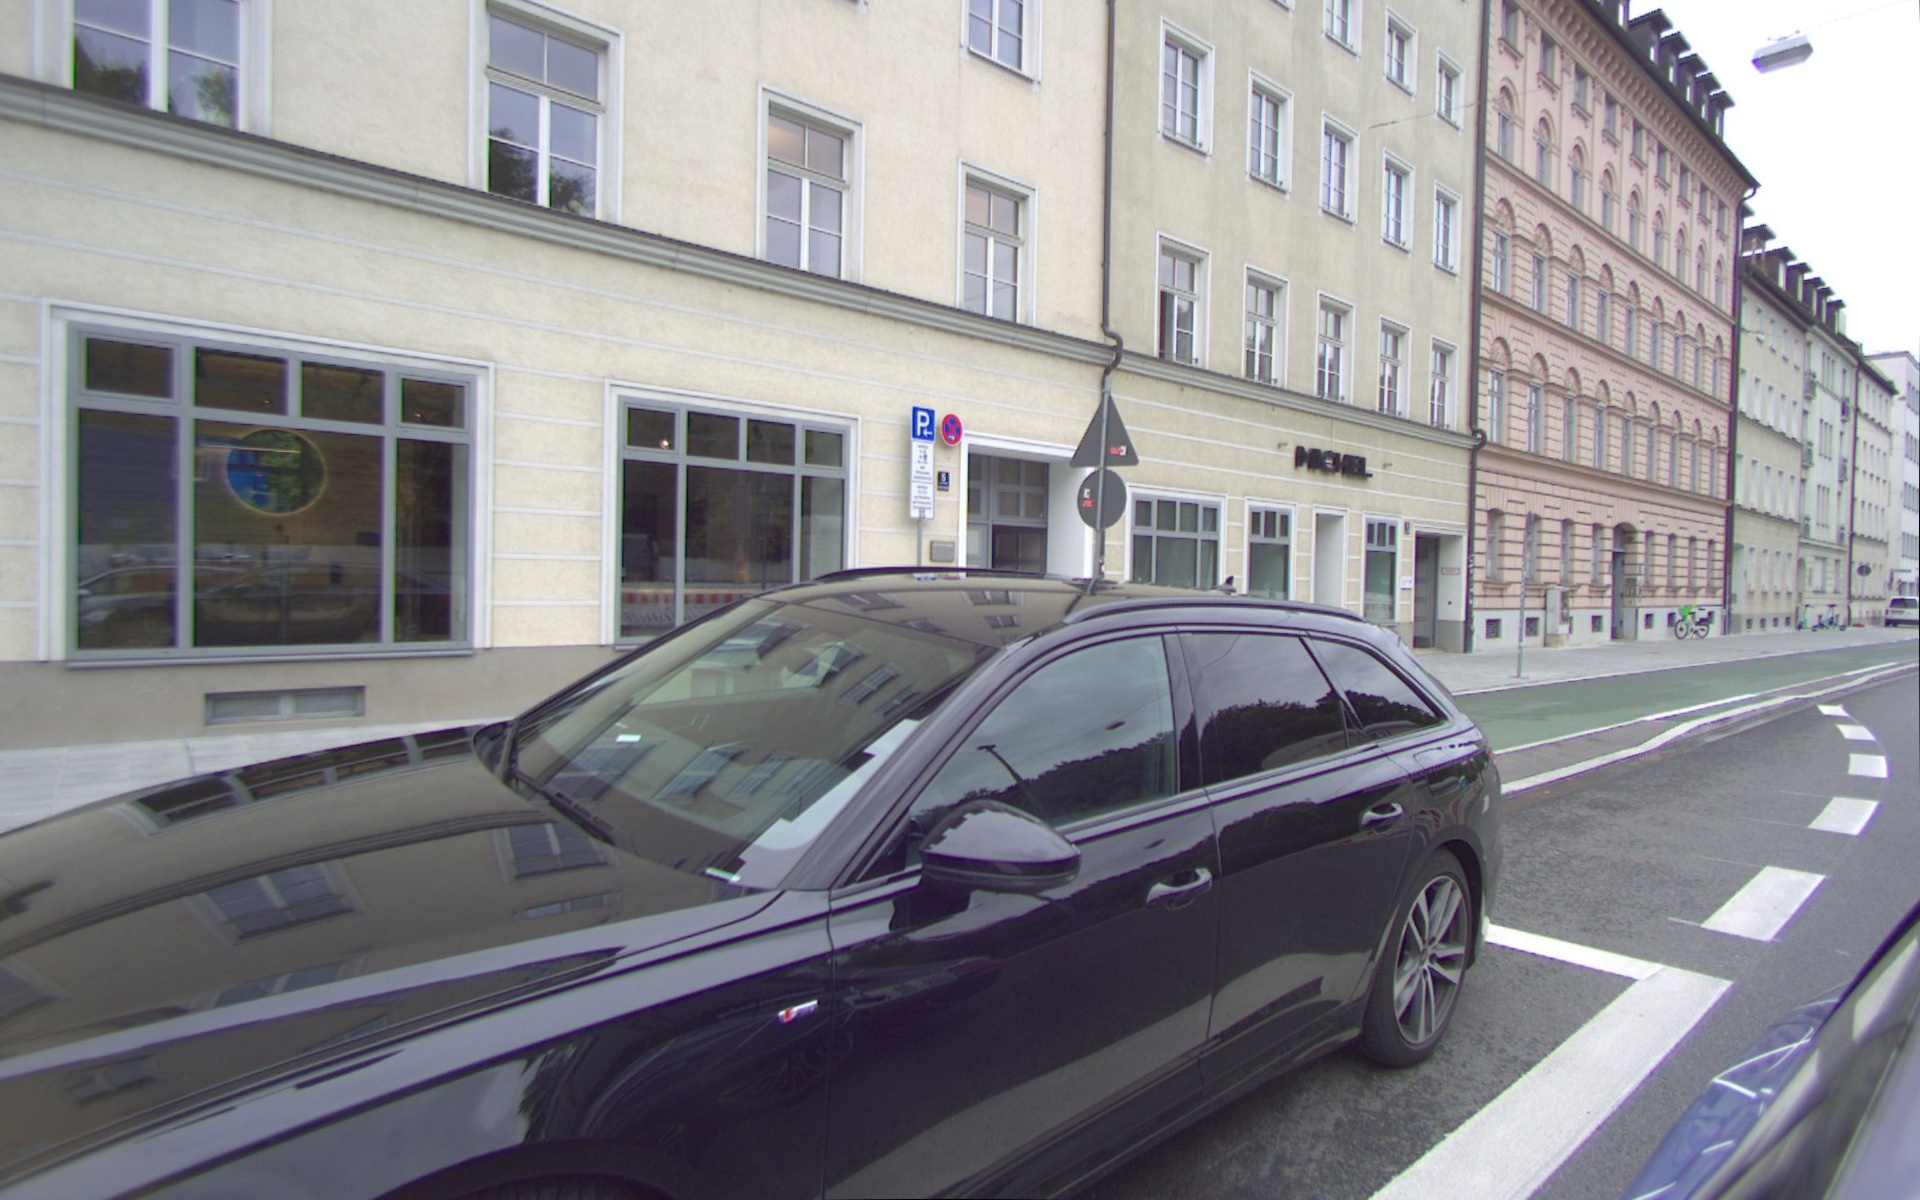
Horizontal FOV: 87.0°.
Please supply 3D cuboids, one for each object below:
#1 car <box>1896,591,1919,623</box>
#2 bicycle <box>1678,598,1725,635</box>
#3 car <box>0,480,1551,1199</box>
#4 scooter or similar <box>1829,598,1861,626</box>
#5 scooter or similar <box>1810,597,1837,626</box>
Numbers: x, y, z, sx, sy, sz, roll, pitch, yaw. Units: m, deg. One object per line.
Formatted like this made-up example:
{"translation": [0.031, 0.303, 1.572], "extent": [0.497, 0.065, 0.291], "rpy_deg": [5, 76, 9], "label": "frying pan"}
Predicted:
{"translation": [56.446, 0.438, 59.310], "extent": [4.356, 1.771, 1.737], "rpy_deg": [1, 2, -40], "label": "car"}
{"translation": [24.893, 0.562, 33.974], "extent": [1.695, 1.188, 0.428], "rpy_deg": [1, 1, -23], "label": "bicycle"}
{"translation": [-0.238, 0.613, 2.654], "extent": [4.607, 1.498, 1.804], "rpy_deg": [0, 2, -43], "label": "car"}
{"translation": [42.624, 0.571, 48.748], "extent": [1.105, 1.246, 0.246], "rpy_deg": [3, 2, 18], "label": "scooter or similar"}
{"translation": [39.072, 0.519, 45.794], "extent": [1.096, 1.246, 0.248], "rpy_deg": [1, 2, -14], "label": "scooter or similar"}
